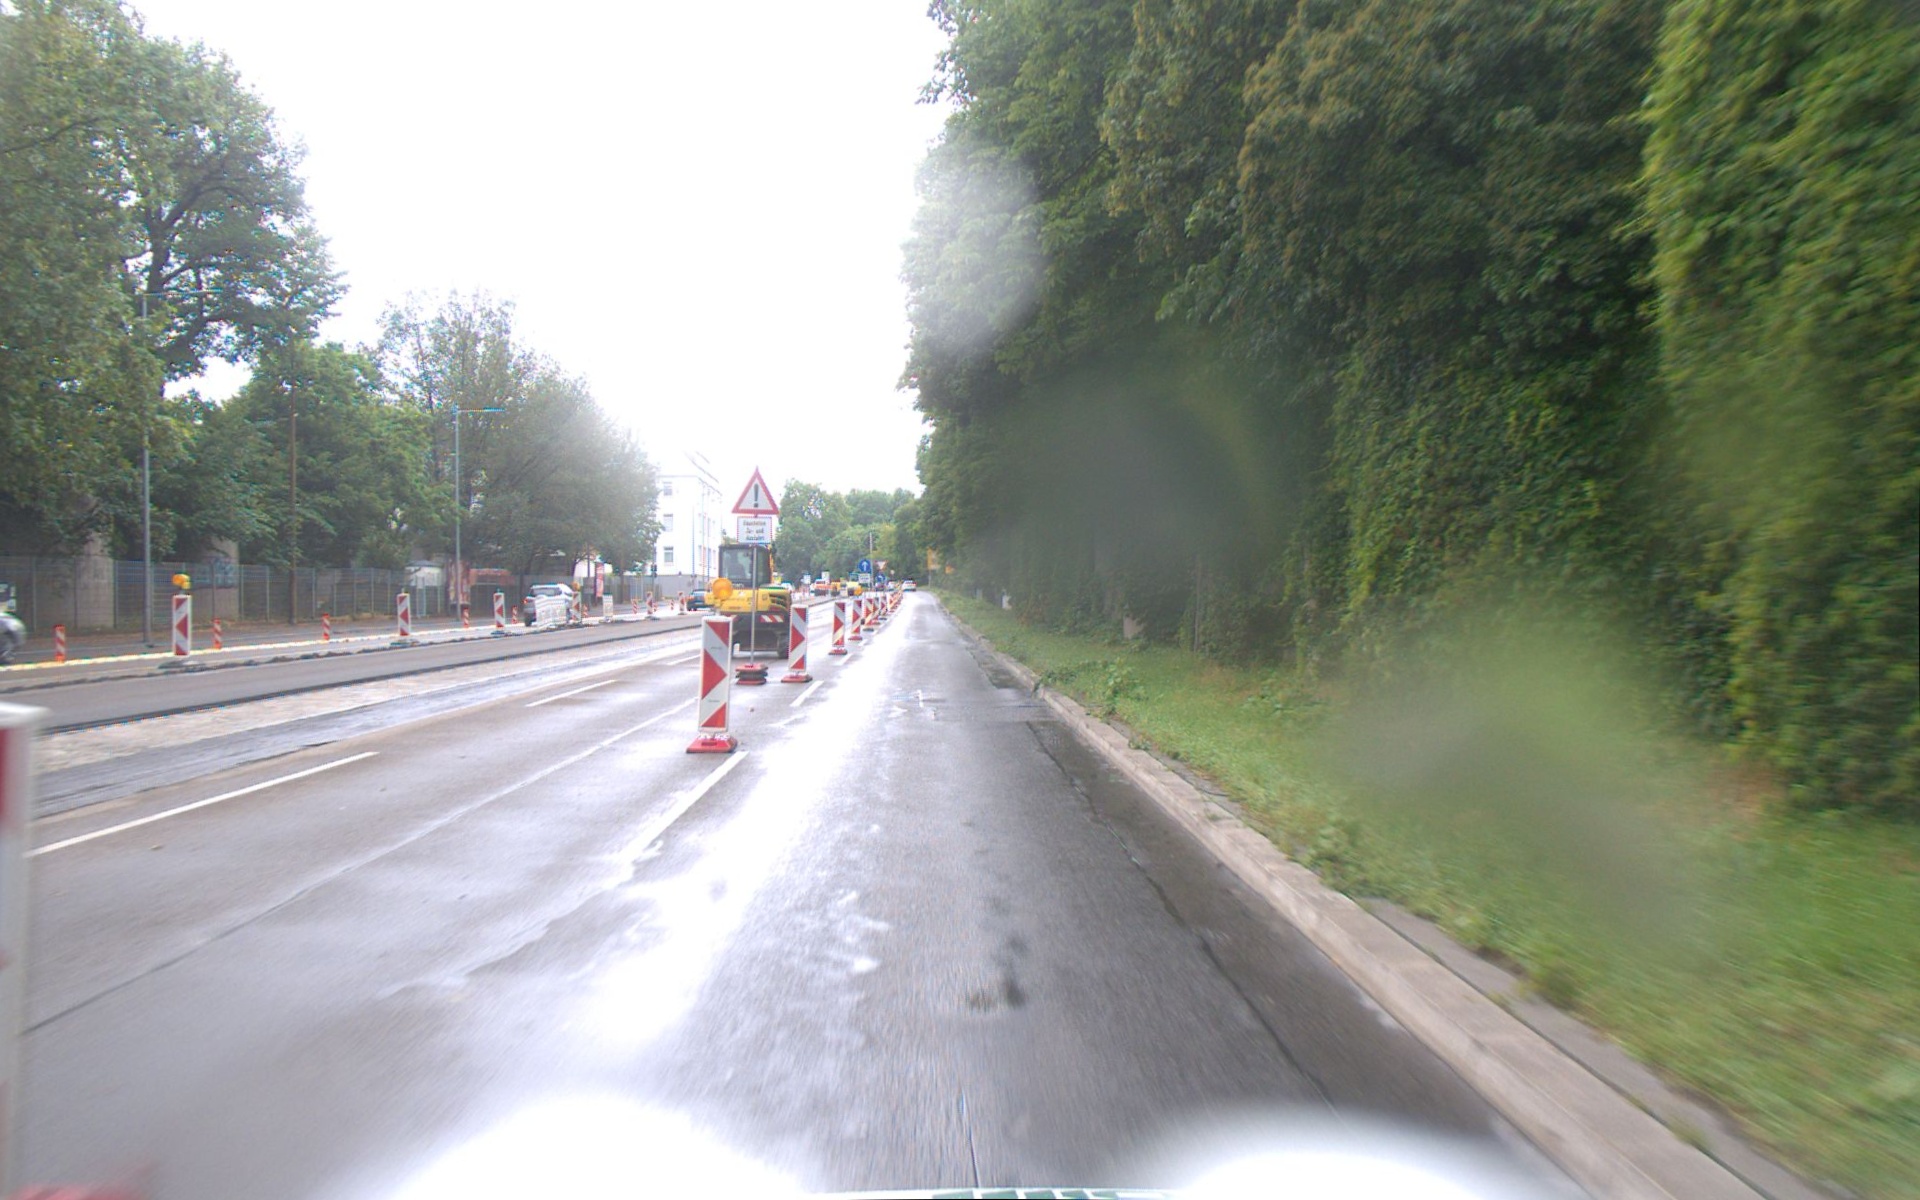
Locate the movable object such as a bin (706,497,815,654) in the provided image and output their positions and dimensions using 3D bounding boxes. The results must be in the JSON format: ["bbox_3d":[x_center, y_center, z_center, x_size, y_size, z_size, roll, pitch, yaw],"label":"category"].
[{"bbox_3d":[-4.638,-0.544,39.302,1.953,3.426,5.981,0,0,-1],"label":"movable object such as a bin"}]

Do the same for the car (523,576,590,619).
[{"bbox_3d":[-16.354,-0.094,67.161,1.817,1.677,3.999,0,0,-2],"label":"car"}]

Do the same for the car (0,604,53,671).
[{"bbox_3d":[-20.942,0.782,34.076,1.953,1.371,4.790,0,0,-1],"label":"car"}]

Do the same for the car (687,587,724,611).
[{"bbox_3d":[-17.267,-0.064,112.403,1.953,1.545,3.999,0,0,-2],"label":"car"}]

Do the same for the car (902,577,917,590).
[{"bbox_3d":[-6.837,-2.213,224.025,1.953,1.702,3.999,0,0,-1],"label":"car"}]
